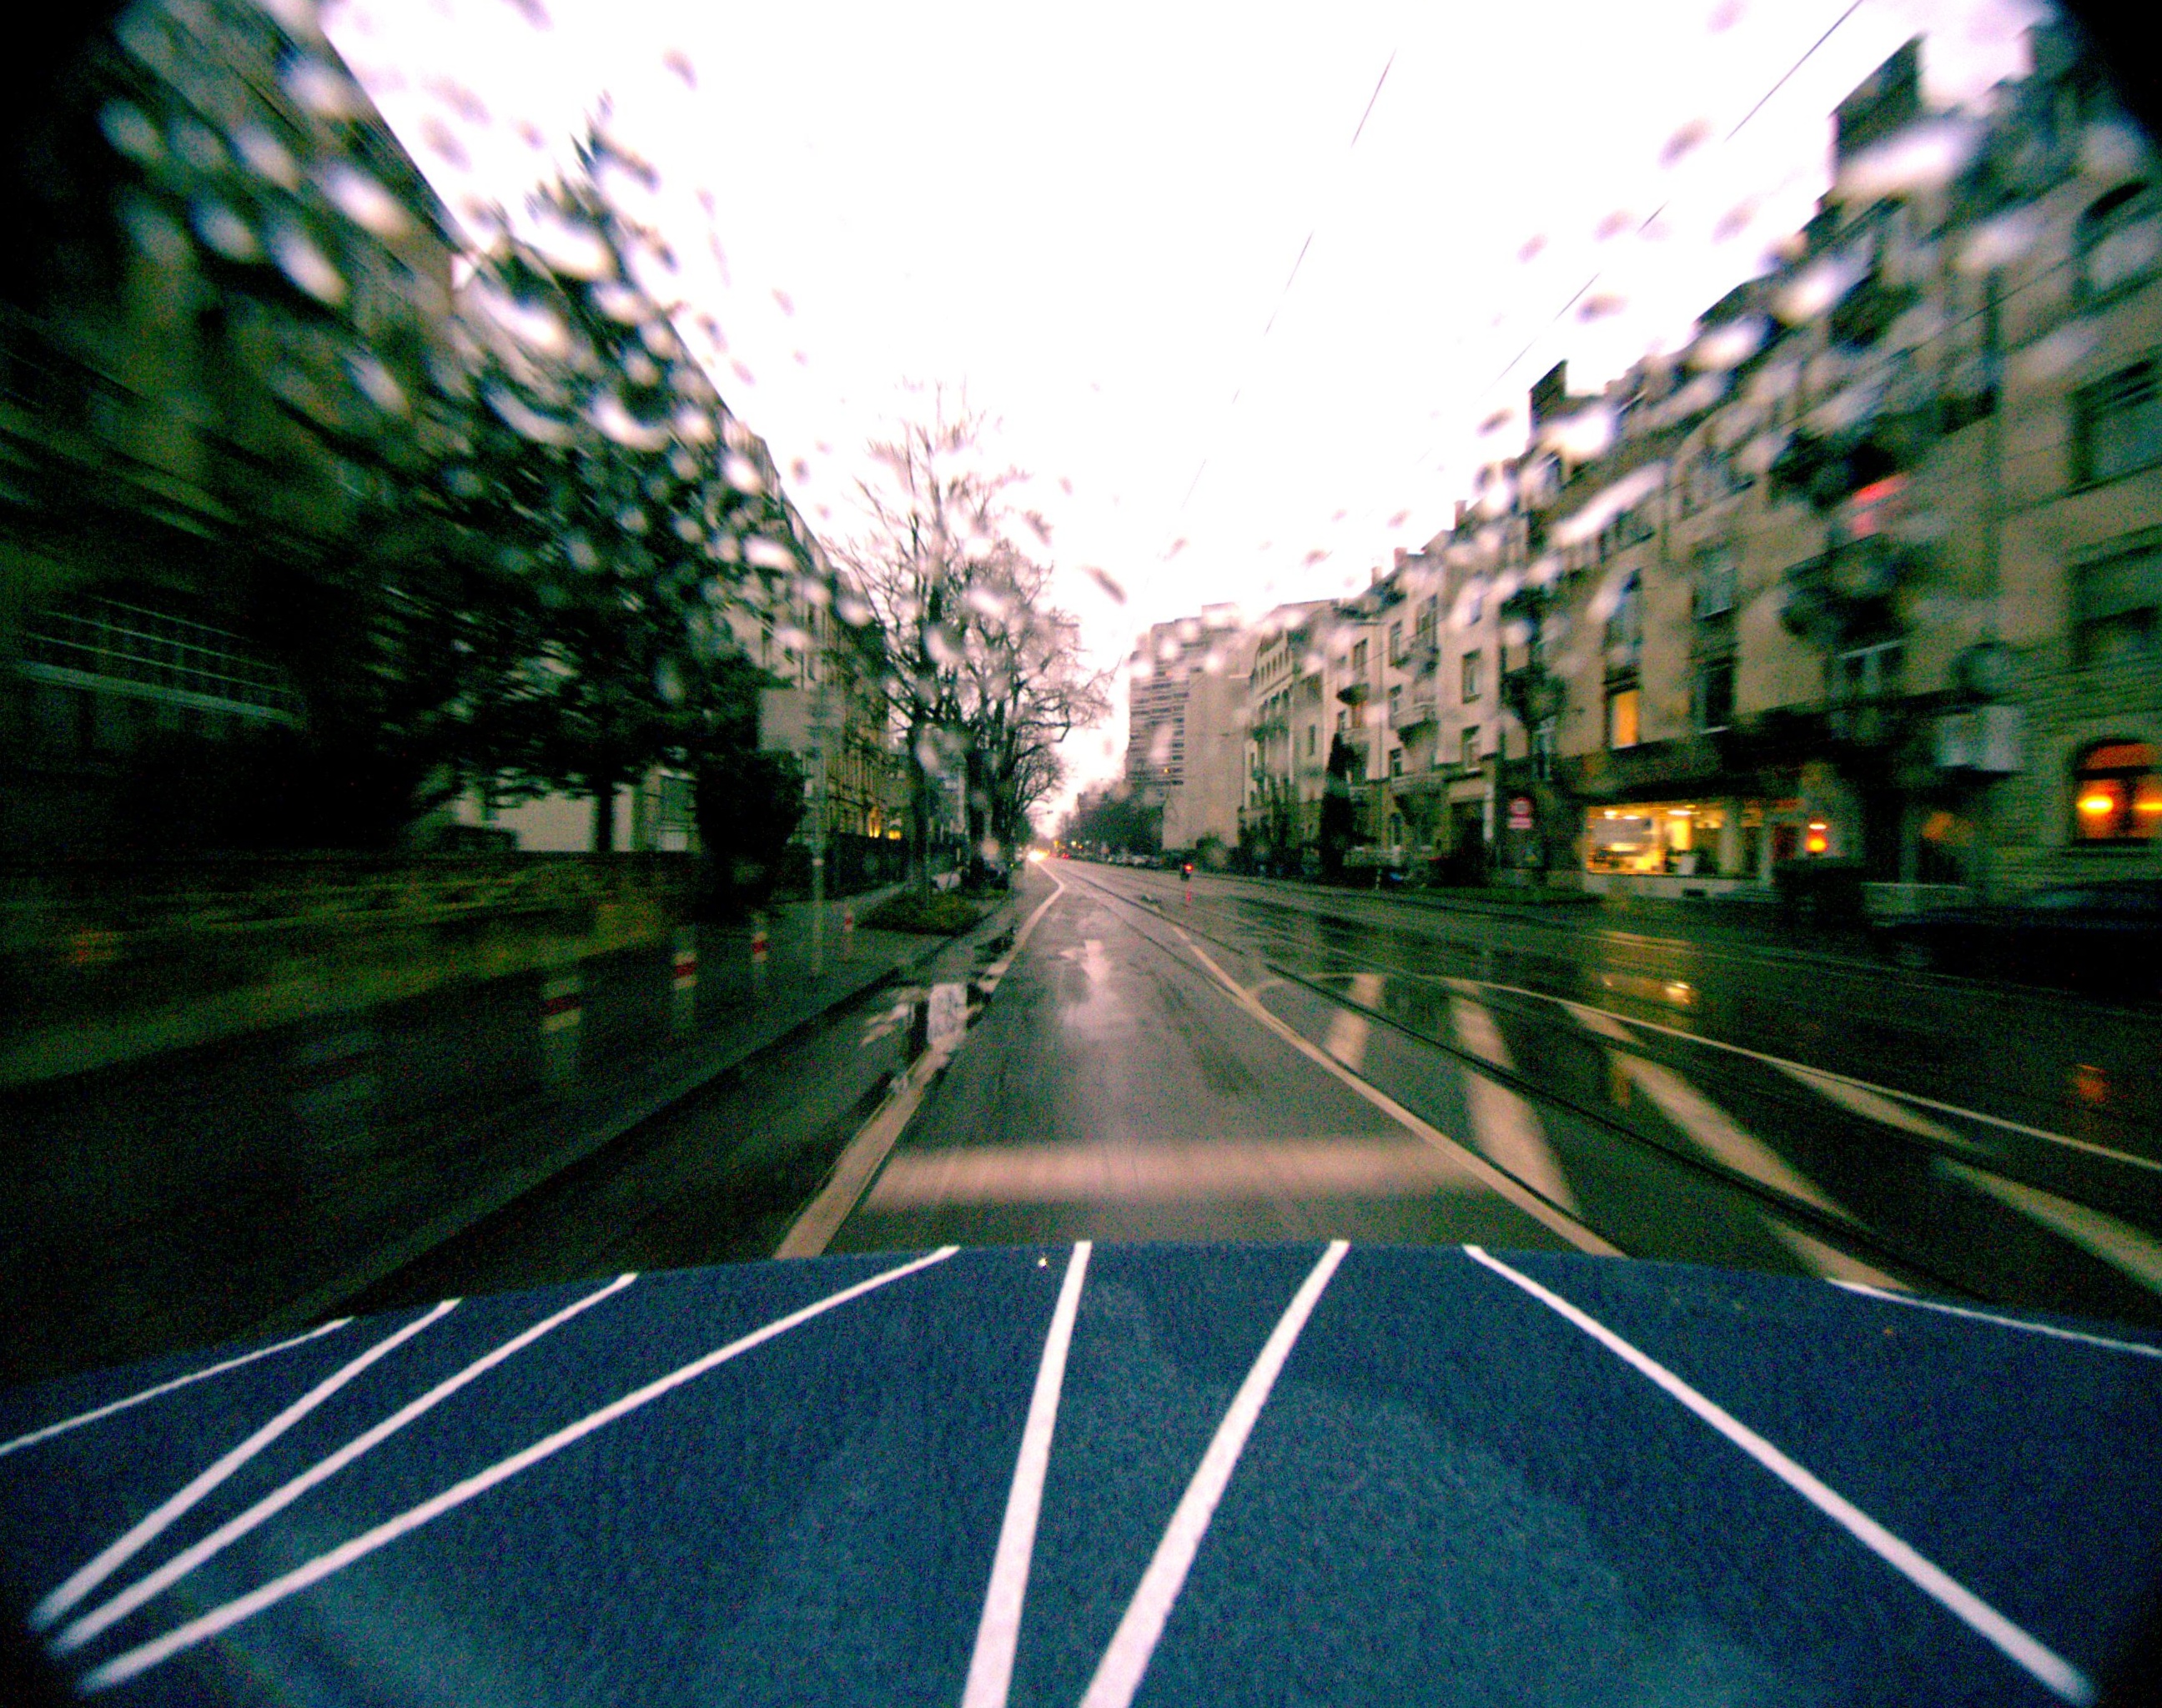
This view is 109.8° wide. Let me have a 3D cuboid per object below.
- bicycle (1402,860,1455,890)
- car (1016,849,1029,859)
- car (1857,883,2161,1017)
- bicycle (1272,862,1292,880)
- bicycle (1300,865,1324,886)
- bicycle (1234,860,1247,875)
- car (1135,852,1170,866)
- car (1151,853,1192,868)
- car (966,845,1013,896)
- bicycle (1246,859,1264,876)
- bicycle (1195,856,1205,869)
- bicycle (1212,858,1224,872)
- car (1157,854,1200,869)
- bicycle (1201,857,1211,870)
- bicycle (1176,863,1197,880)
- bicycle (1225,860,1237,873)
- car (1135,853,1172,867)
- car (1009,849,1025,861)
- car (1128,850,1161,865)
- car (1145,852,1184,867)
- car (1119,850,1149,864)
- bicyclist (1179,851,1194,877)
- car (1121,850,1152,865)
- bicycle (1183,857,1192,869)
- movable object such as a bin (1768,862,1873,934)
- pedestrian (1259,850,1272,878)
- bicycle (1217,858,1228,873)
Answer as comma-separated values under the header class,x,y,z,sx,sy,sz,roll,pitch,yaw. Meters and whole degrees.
class,x,y,z,sx,sy,sz,roll,pitch,yaw
bicycle,14.724,0.887,32.179,1.990,1.152,0.531,-2,1,-4
car,-8.528,-0.071,110.925,1.727,1.405,3.840,1,1,-7
car,13.674,1.217,10.100,1.807,1.382,4.505,-2,1,-7
bicycle,11.320,0.937,42.792,0.531,0.885,2.209,-2,1,0
bicycle,11.537,1.045,37.995,0.531,0.934,2.085,-2,1,0
bicycle,10.797,0.902,51.542,0.435,1.001,1.712,-2,1,-2
car,8.439,0.604,90.096,3.841,1.405,1.726,-2,1,-3
car,9.152,0.675,77.001,3.841,1.405,1.726,1,0,-3
car,-3.775,0.623,32.023,1.727,1.934,4.506,-2,1,-5
bicycle,11.045,0.838,48.195,0.524,1.001,2.208,-2,1,-2
bicycle,9.803,0.718,62.809,0.435,1.001,1.880,-2,1,-2
bicycle,10.300,0.837,57.291,0.435,1.001,1.880,-2,1,-2
car,9.512,0.706,74.347,3.841,1.405,1.726,0,1,-3
bicycle,9.988,0.757,60.809,0.435,1.001,1.880,-2,1,-2
bicycle,6.117,1.015,44.207,0.649,0.884,1.711,2,0,-11
bicycle,10.512,0.893,53.342,0.442,0.827,1.767,-2,1,-2
car,8.132,0.636,85.580,3.841,1.405,1.726,-2,0,-3
car,-7.712,0.090,91.669,1.727,1.405,3.840,1,1,-7
car,8.033,0.476,96.484,3.841,1.707,1.726,-2,1,-3
car,8.777,0.600,79.789,3.841,1.405,1.726,-2,1,-3
car,7.138,0.381,103.214,3.841,1.707,1.726,-2,1,-3
bicyclist,6.128,0.588,44.209,0.658,1.492,0.657,2,1,-11
car,7.218,0.441,99.258,3.841,1.707,1.726,-2,1,-3
bicycle,9.486,0.788,67.742,0.469,1.001,1.880,-2,1,-2
movable object such as a bin,16.076,0.932,16.551,1.240,1.423,1.073,-2,1,-5
pedestrian,10.664,0.575,43.988,0.574,1.633,0.449,-2,1,-5
bicycle,10.287,0.828,55.357,0.435,1.001,1.604,-2,1,-2
